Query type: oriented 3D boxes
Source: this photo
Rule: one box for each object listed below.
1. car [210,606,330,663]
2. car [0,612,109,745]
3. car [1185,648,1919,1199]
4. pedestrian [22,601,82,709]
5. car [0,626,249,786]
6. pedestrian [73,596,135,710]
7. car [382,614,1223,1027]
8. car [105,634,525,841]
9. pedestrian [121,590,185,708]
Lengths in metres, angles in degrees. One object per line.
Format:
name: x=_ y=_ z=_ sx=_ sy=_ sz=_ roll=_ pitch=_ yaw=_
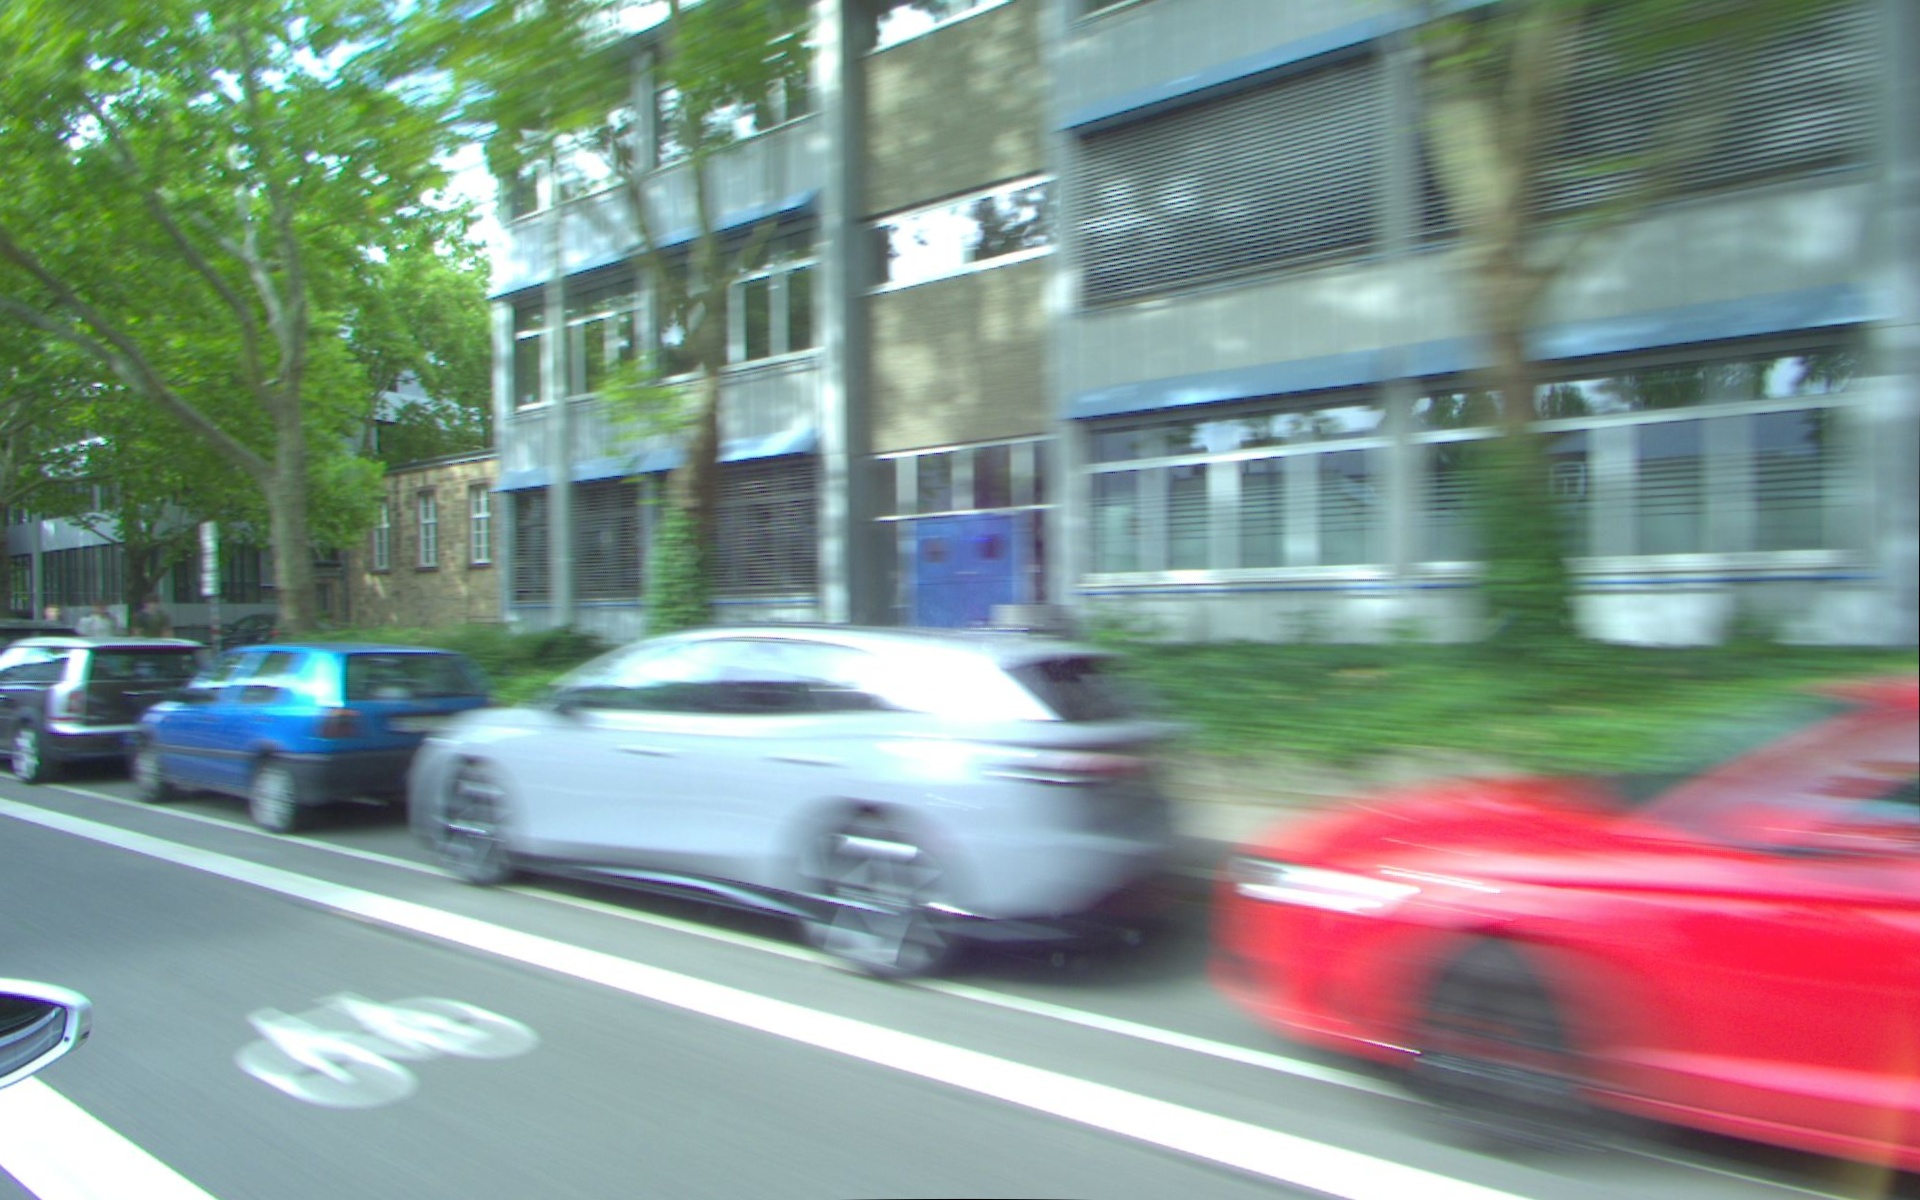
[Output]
car: x=-20.087 y=0.981 z=29.110 sx=3.860 sy=1.477 sz=1.469 roll=1 pitch=-1 yaw=32
car: x=-13.810 y=1.015 z=13.888 sx=4.437 sy=1.661 sz=1.667 roll=-1 pitch=-3 yaw=31
car: x=3.043 y=0.886 z=2.867 sx=4.396 sy=1.412 sz=1.673 roll=-1 pitch=-1 yaw=31
pedestrian: x=-14.859 y=0.886 z=16.387 sx=0.501 sy=1.724 sz=0.586 roll=1 pitch=0 yaw=33
car: x=-9.888 y=1.043 z=11.203 sx=4.255 sy=1.489 sz=1.627 roll=-1 pitch=-1 yaw=31
pedestrian: x=-14.434 y=0.880 z=16.891 sx=0.682 sy=1.862 sz=0.586 roll=1 pitch=0 yaw=33
car: x=-1.113 y=0.878 z=5.731 sx=4.800 sy=1.536 sz=1.725 roll=-1 pitch=-2 yaw=31
car: x=-5.723 y=1.039 z=8.760 sx=3.944 sy=1.403 sz=1.619 roll=-1 pitch=-3 yaw=34
pedestrian: x=-14.062 y=0.835 z=17.449 sx=0.682 sy=2.001 sz=0.641 roll=1 pitch=0 yaw=33
